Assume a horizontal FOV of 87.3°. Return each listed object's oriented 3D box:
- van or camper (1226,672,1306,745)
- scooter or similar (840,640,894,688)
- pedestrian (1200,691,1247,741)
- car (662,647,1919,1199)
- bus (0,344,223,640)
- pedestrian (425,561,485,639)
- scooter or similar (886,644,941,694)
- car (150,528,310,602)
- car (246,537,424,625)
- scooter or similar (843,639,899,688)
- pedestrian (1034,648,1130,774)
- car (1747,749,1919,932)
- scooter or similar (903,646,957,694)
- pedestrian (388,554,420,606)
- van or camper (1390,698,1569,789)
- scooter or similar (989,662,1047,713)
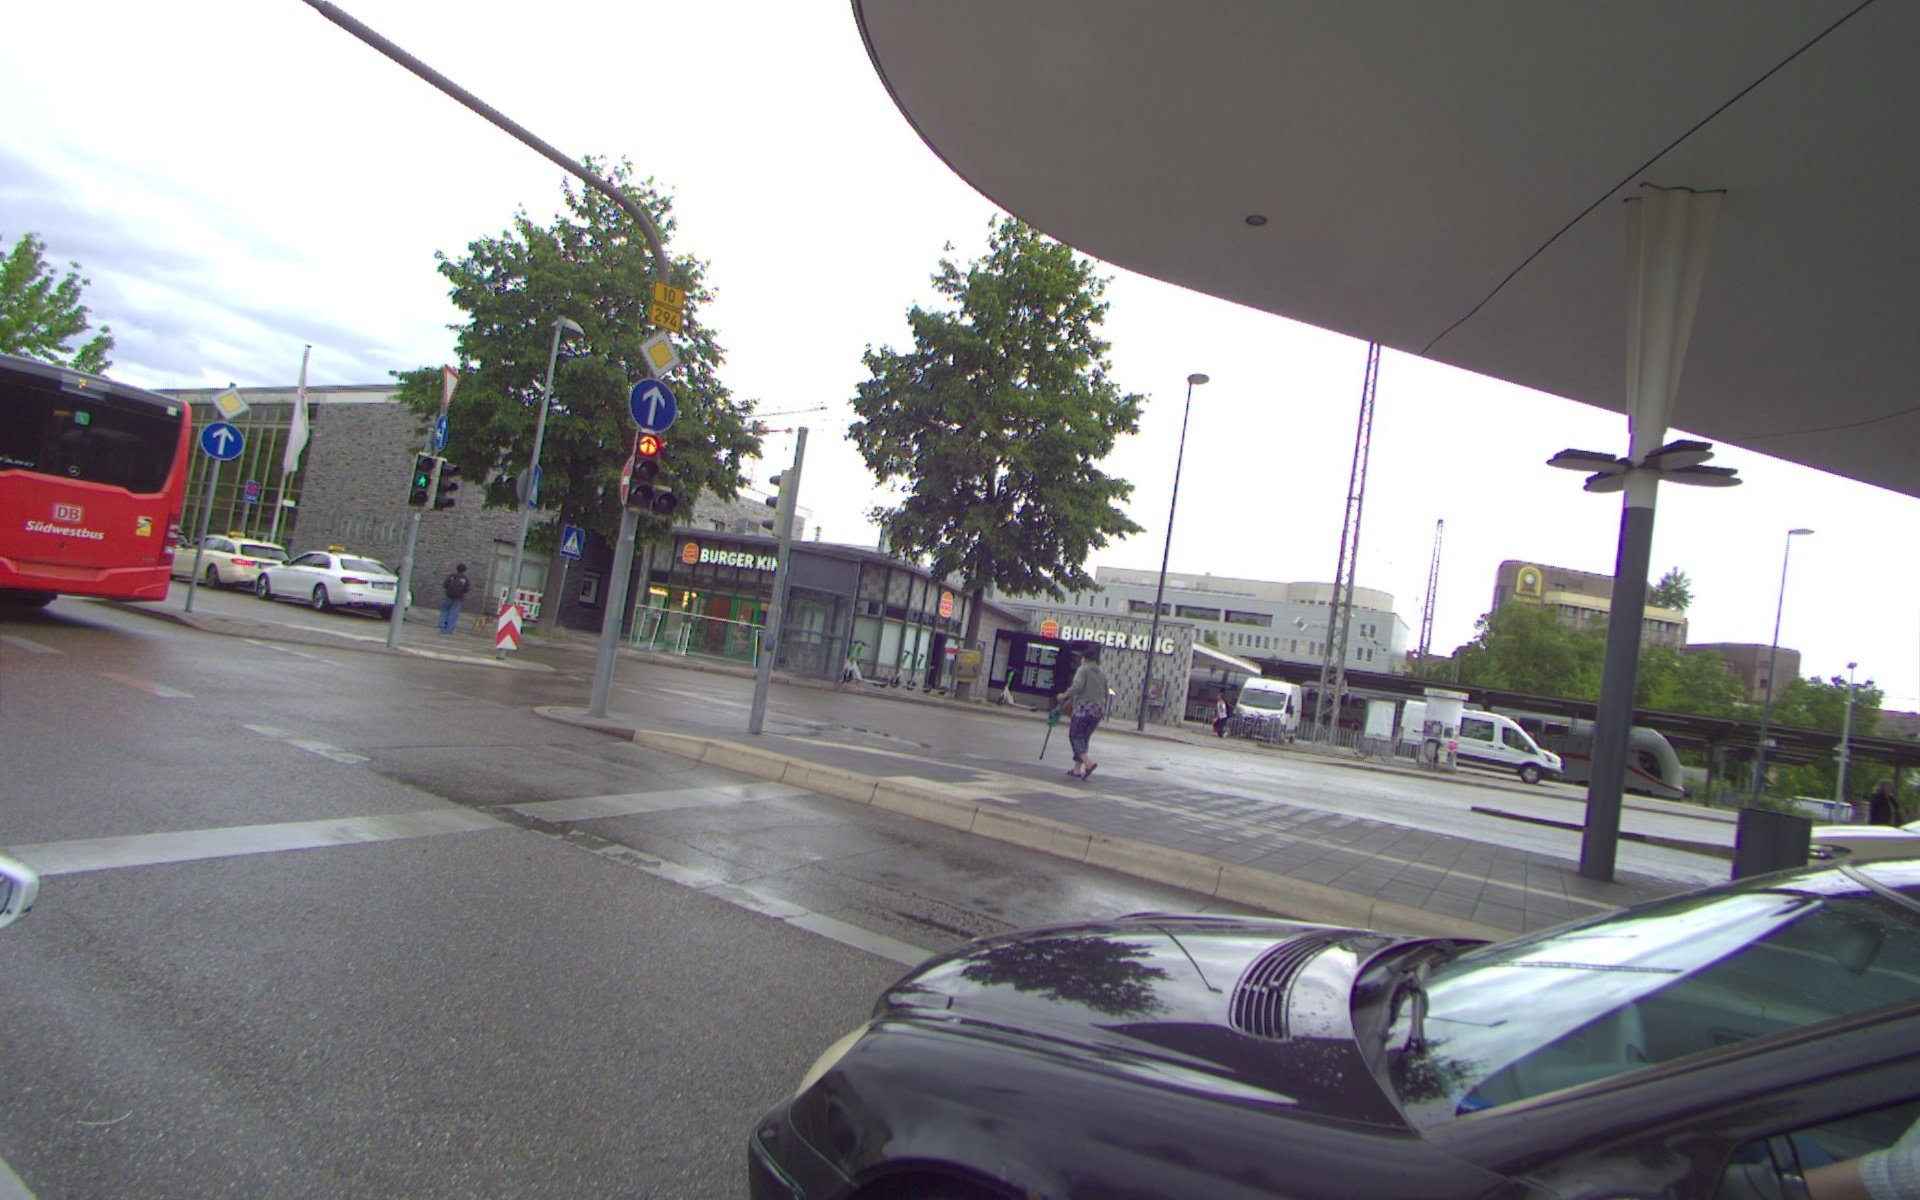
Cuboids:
[{"bbox_3d":[12.547,4.414,41.007,2.072,2.491,5.975,7,-3,25],"label":"van or camper"},{"bbox_3d":[-2.622,1.809,28.413,1.313,1.157,0.464,9,-2,-31],"label":"scooter or similar"},{"bbox_3d":[9.183,4.053,35.128,0.910,1.552,1.096,9,-2,-36],"label":"pedestrian"},{"bbox_3d":[1.779,1.147,1.473,4.362,1.493,1.754,5,-8,31],"label":"car"},{"bbox_3d":[-14.171,-1.621,13.879,7.976,3.210,2.752,7,-2,26],"label":"bus"},{"bbox_3d":[-11.770,0.006,23.457,0.700,1.693,0.809,7,-2,31],"label":"pedestrian"},{"bbox_3d":[-1.405,2.066,30.342,1.503,1.284,0.467,8,-1,-4],"label":"scooter or similar"},{"bbox_3d":[-20.624,-0.997,28.378,4.588,1.468,1.851,7,-2,30],"label":"car"},{"bbox_3d":[-15.847,-0.502,25.451,4.538,1.608,1.779,7,-2,30],"label":"car"},{"bbox_3d":[-2.454,1.759,27.755,1.309,1.167,0.465,9,-2,-21],"label":"scooter or similar"},{"bbox_3d":[1.480,1.343,12.191,0.753,1.374,0.738,7,-3,31],"label":"pedestrian"},{"bbox_3d":[11.237,2.807,10.558,4.360,1.665,1.807,7,-5,32],"label":"car"},{"bbox_3d":[-0.942,2.164,31.167,1.503,1.284,0.467,8,-1,-4],"label":"scooter or similar"},{"bbox_3d":[-18.838,-0.685,34.086,0.556,1.652,0.562,7,-2,30],"label":"pedestrian"},{"bbox_3d":[20.346,5.549,39.538,5.873,2.491,2.108,7,-2,32],"label":"van or camper"},{"bbox_3d":[1.719,2.597,29.769,1.503,1.284,0.467,8,-1,-4],"label":"scooter or similar"}]
